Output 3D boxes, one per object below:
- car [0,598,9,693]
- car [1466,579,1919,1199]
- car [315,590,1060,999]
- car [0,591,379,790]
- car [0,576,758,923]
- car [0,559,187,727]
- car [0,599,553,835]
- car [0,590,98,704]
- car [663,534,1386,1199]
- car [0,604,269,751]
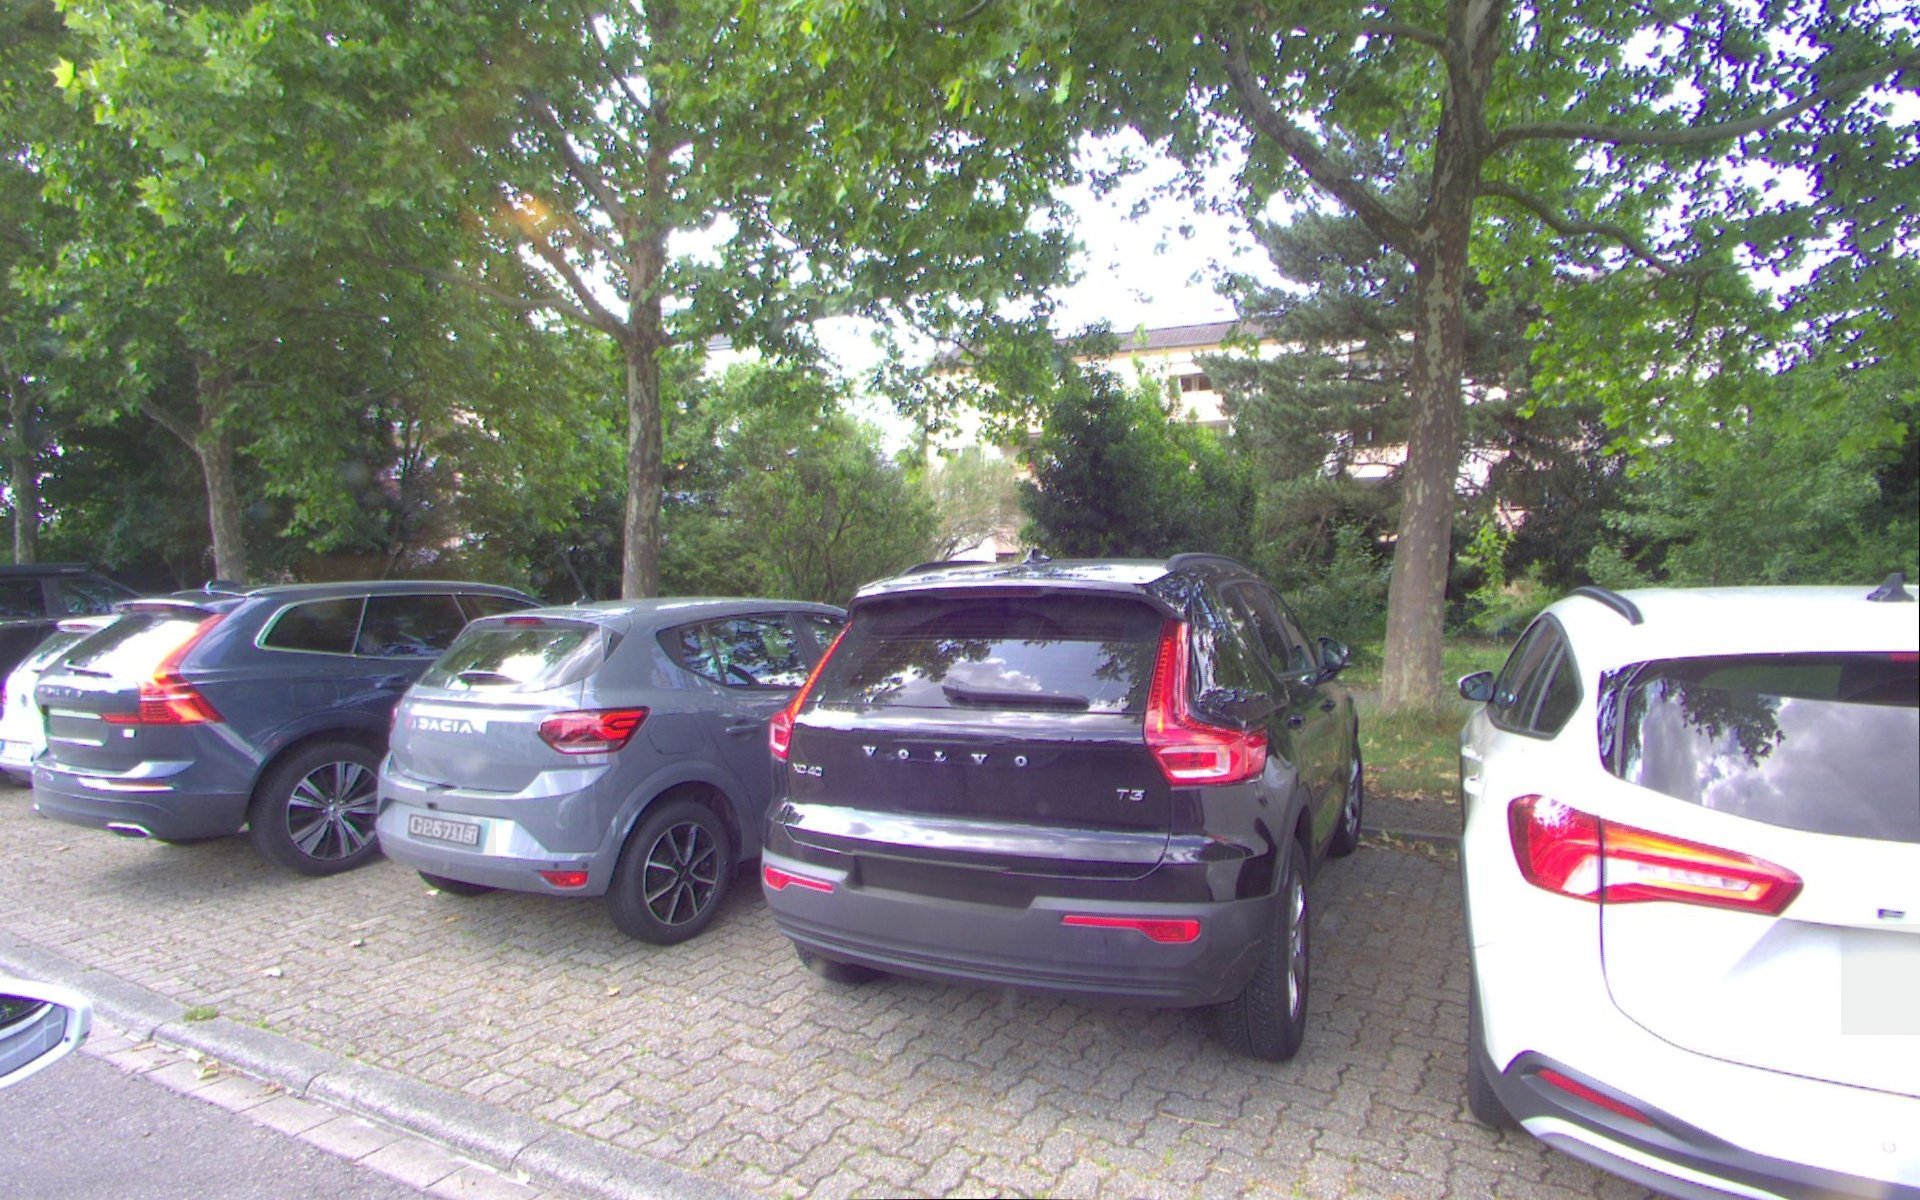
[{"bbox_3d":[-18.797,0.855,16.232,1.826,1.683,4.543,0,1,26],"label":"car"},{"bbox_3d":[2.849,0.679,3.598,1.818,1.493,4.655,0,1,27],"label":"car"},{"bbox_3d":[-1.140,0.723,6.110,1.731,1.521,4.371,0,1,32],"label":"car"},{"bbox_3d":[-8.243,0.750,10.045,1.725,1.627,3.969,0,1,20],"label":"car"},{"bbox_3d":[-3.608,0.688,7.103,1.731,1.661,4.371,0,1,32],"label":"car"},{"bbox_3d":[-13.248,0.563,13.141,1.828,2.152,4.538,0,1,30],"label":"car"},{"bbox_3d":[-5.849,0.787,8.820,1.730,1.514,3.959,0,1,30],"label":"car"},{"bbox_3d":[-16.430,0.763,15.332,1.828,1.790,4.538,0,1,30],"label":"car"},{"bbox_3d":[0.918,0.637,4.849,1.818,1.648,4.655,0,1,27],"label":"car"},{"bbox_3d":[-10.616,0.850,11.558,1.730,1.514,3.959,-1,1,30],"label":"car"}]
